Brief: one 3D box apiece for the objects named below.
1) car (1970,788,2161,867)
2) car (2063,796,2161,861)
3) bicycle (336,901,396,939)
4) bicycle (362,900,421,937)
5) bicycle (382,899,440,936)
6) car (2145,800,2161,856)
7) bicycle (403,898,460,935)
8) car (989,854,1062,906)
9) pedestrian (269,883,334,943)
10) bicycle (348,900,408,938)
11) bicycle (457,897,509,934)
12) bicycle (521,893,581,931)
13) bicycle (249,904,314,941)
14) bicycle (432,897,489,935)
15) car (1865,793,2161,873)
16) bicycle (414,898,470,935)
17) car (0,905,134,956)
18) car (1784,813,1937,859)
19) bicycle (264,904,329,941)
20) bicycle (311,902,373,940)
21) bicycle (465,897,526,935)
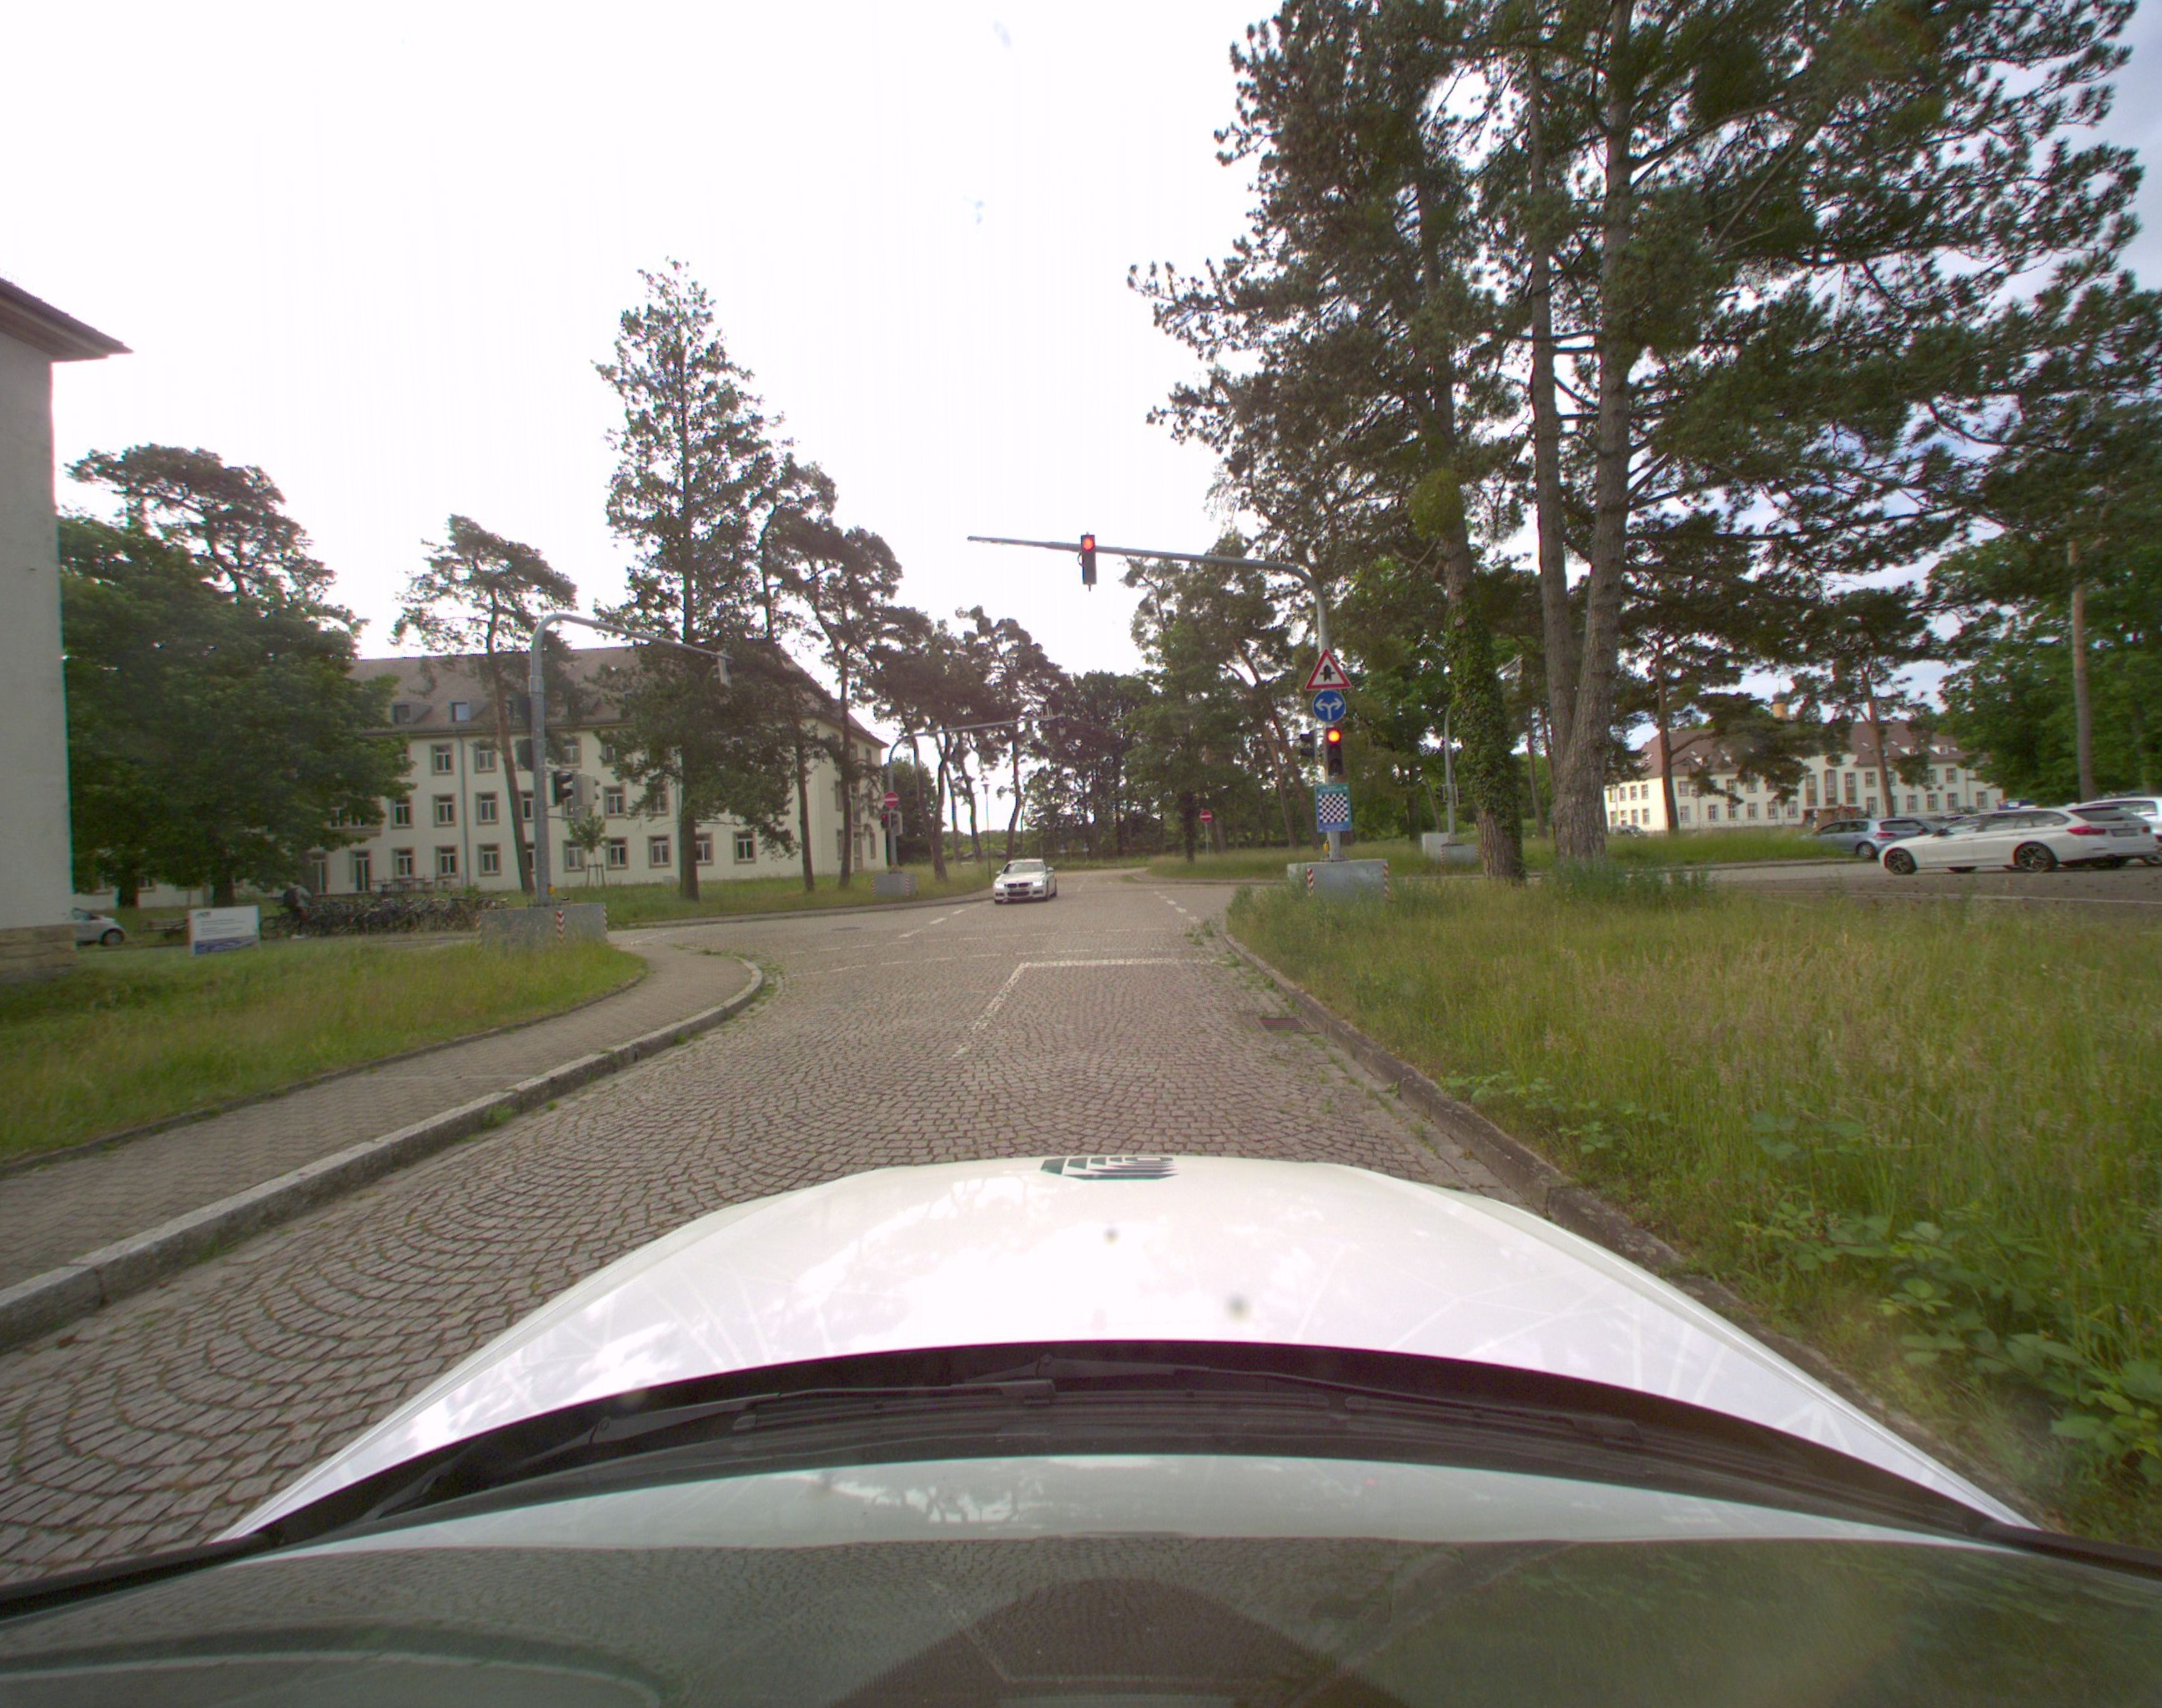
[{"bbox_3d":[24.080,-0.594,19.043,1.777,1.605,4.240,-3,-3,-1],"label":"car"},{"bbox_3d":[26.709,-0.688,19.317,1.694,1.485,4.245,-3,-3,3],"label":"car"},{"bbox_3d":[-23.497,2.156,26.793,0.512,1.079,1.586,-3,0,2],"label":"bicycle"},{"bbox_3d":[-22.661,2.104,26.801,0.512,1.079,1.586,-3,0,2],"label":"bicycle"},{"bbox_3d":[-22.040,2.067,26.818,0.512,1.079,1.586,-3,0,2],"label":"bicycle"},{"bbox_3d":[29.453,-0.813,19.776,1.694,1.485,4.245,-3,-3,3],"label":"car"},{"bbox_3d":[-21.409,2.041,26.860,0.512,1.079,1.586,-3,0,2],"label":"bicycle"},{"bbox_3d":[-1.834,0.840,28.174,1.765,1.438,4.223,-6,0,4],"label":"car"},{"bbox_3d":[-24.957,1.872,26.086,1.050,1.788,1.165,-2,1,29],"label":"pedestrian"},{"bbox_3d":[-23.113,2.117,26.797,0.512,1.079,1.586,-3,0,2],"label":"bicycle"},{"bbox_3d":[-19.668,2.000,26.838,0.513,1.079,1.584,-3,0,-1],"label":"bicycle"},{"bbox_3d":[-16.647,1.817,25.599,1.460,1.065,0.516,-3,0,-1],"label":"bicycle"},{"bbox_3d":[-26.320,2.246,26.837,0.512,1.079,1.586,-3,0,2],"label":"bicycle"},{"bbox_3d":[-20.346,2.016,26.755,0.512,1.079,1.587,-3,0,4],"label":"bicycle"},{"bbox_3d":[21.447,-0.383,18.953,1.843,1.487,4.606,-2,-3,-1],"label":"car"},{"bbox_3d":[-21.048,2.033,26.853,0.512,1.079,1.586,-3,0,2],"label":"bicycle"},{"bbox_3d":[-34.165,2.527,27.287,1.511,1.428,2.789,-2,0,1],"label":"car"},{"bbox_3d":[28.836,-0.648,30.339,1.727,1.509,4.246,-3,0,3],"label":"car"},{"bbox_3d":[-25.819,2.234,26.843,0.512,1.079,1.586,-3,0,2],"label":"bicycle"},{"bbox_3d":[-24.292,2.191,26.798,0.512,1.079,1.586,-3,0,2],"label":"bicycle"},{"bbox_3d":[-18.282,1.929,25.444,1.460,1.079,0.516,-3,0,-1],"label":"bicycle"}]
